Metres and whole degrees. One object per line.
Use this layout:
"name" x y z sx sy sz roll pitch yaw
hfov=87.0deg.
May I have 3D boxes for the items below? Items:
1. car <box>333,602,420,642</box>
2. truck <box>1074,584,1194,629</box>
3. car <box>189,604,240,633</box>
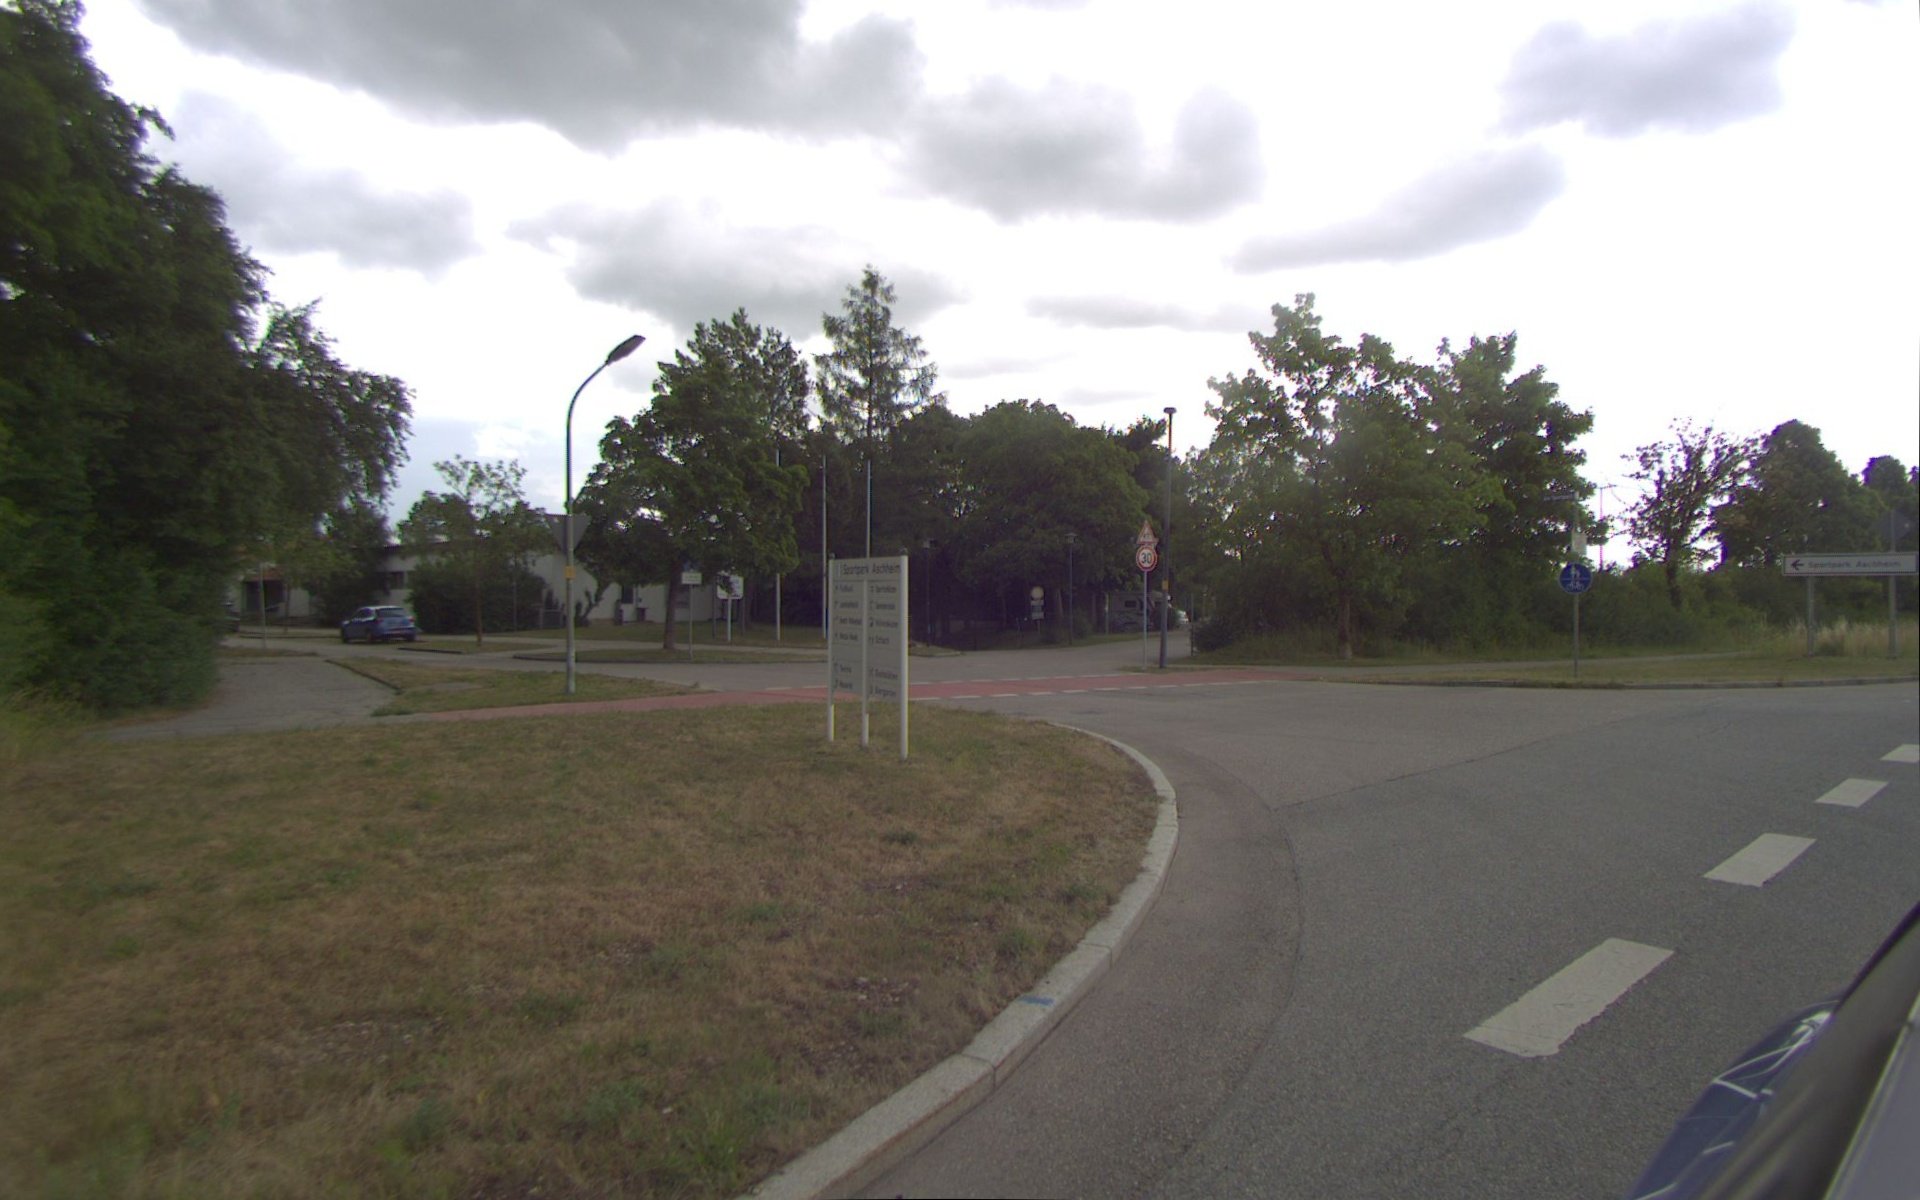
"car" -22.887 0.836 39.671 3.688 1.482 1.804 0 0 40
"truck" 12.720 0.420 74.106 8.279 3.149 3.049 0 1 23
"car" -39.869 0.971 54.090 1.799 1.482 3.698 -1 0 -42
